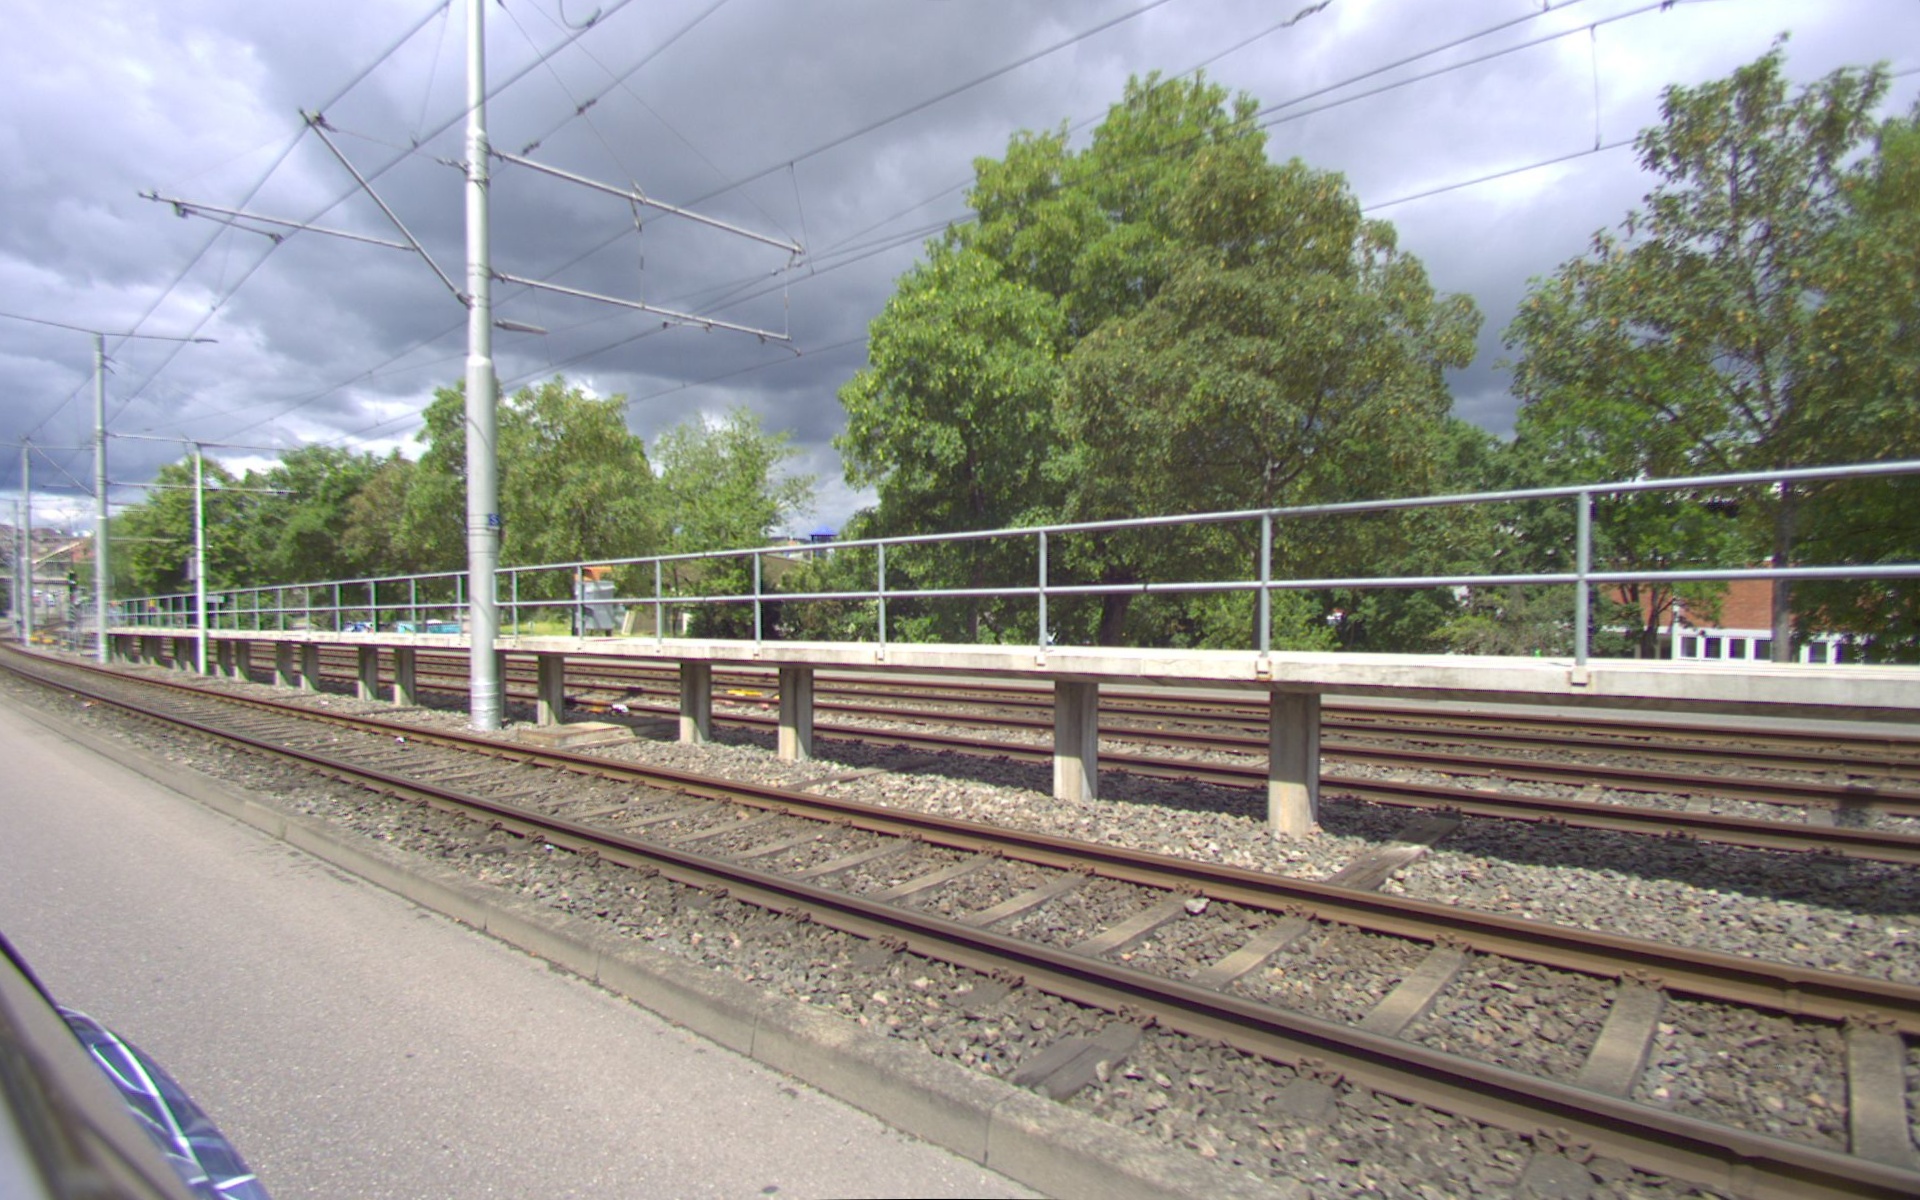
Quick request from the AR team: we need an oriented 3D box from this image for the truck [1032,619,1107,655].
[{"bbox_3d":[9.077,3.030,83.168,2.680,2.877,6.527,-2,-3,44],"label":"truck"}]
